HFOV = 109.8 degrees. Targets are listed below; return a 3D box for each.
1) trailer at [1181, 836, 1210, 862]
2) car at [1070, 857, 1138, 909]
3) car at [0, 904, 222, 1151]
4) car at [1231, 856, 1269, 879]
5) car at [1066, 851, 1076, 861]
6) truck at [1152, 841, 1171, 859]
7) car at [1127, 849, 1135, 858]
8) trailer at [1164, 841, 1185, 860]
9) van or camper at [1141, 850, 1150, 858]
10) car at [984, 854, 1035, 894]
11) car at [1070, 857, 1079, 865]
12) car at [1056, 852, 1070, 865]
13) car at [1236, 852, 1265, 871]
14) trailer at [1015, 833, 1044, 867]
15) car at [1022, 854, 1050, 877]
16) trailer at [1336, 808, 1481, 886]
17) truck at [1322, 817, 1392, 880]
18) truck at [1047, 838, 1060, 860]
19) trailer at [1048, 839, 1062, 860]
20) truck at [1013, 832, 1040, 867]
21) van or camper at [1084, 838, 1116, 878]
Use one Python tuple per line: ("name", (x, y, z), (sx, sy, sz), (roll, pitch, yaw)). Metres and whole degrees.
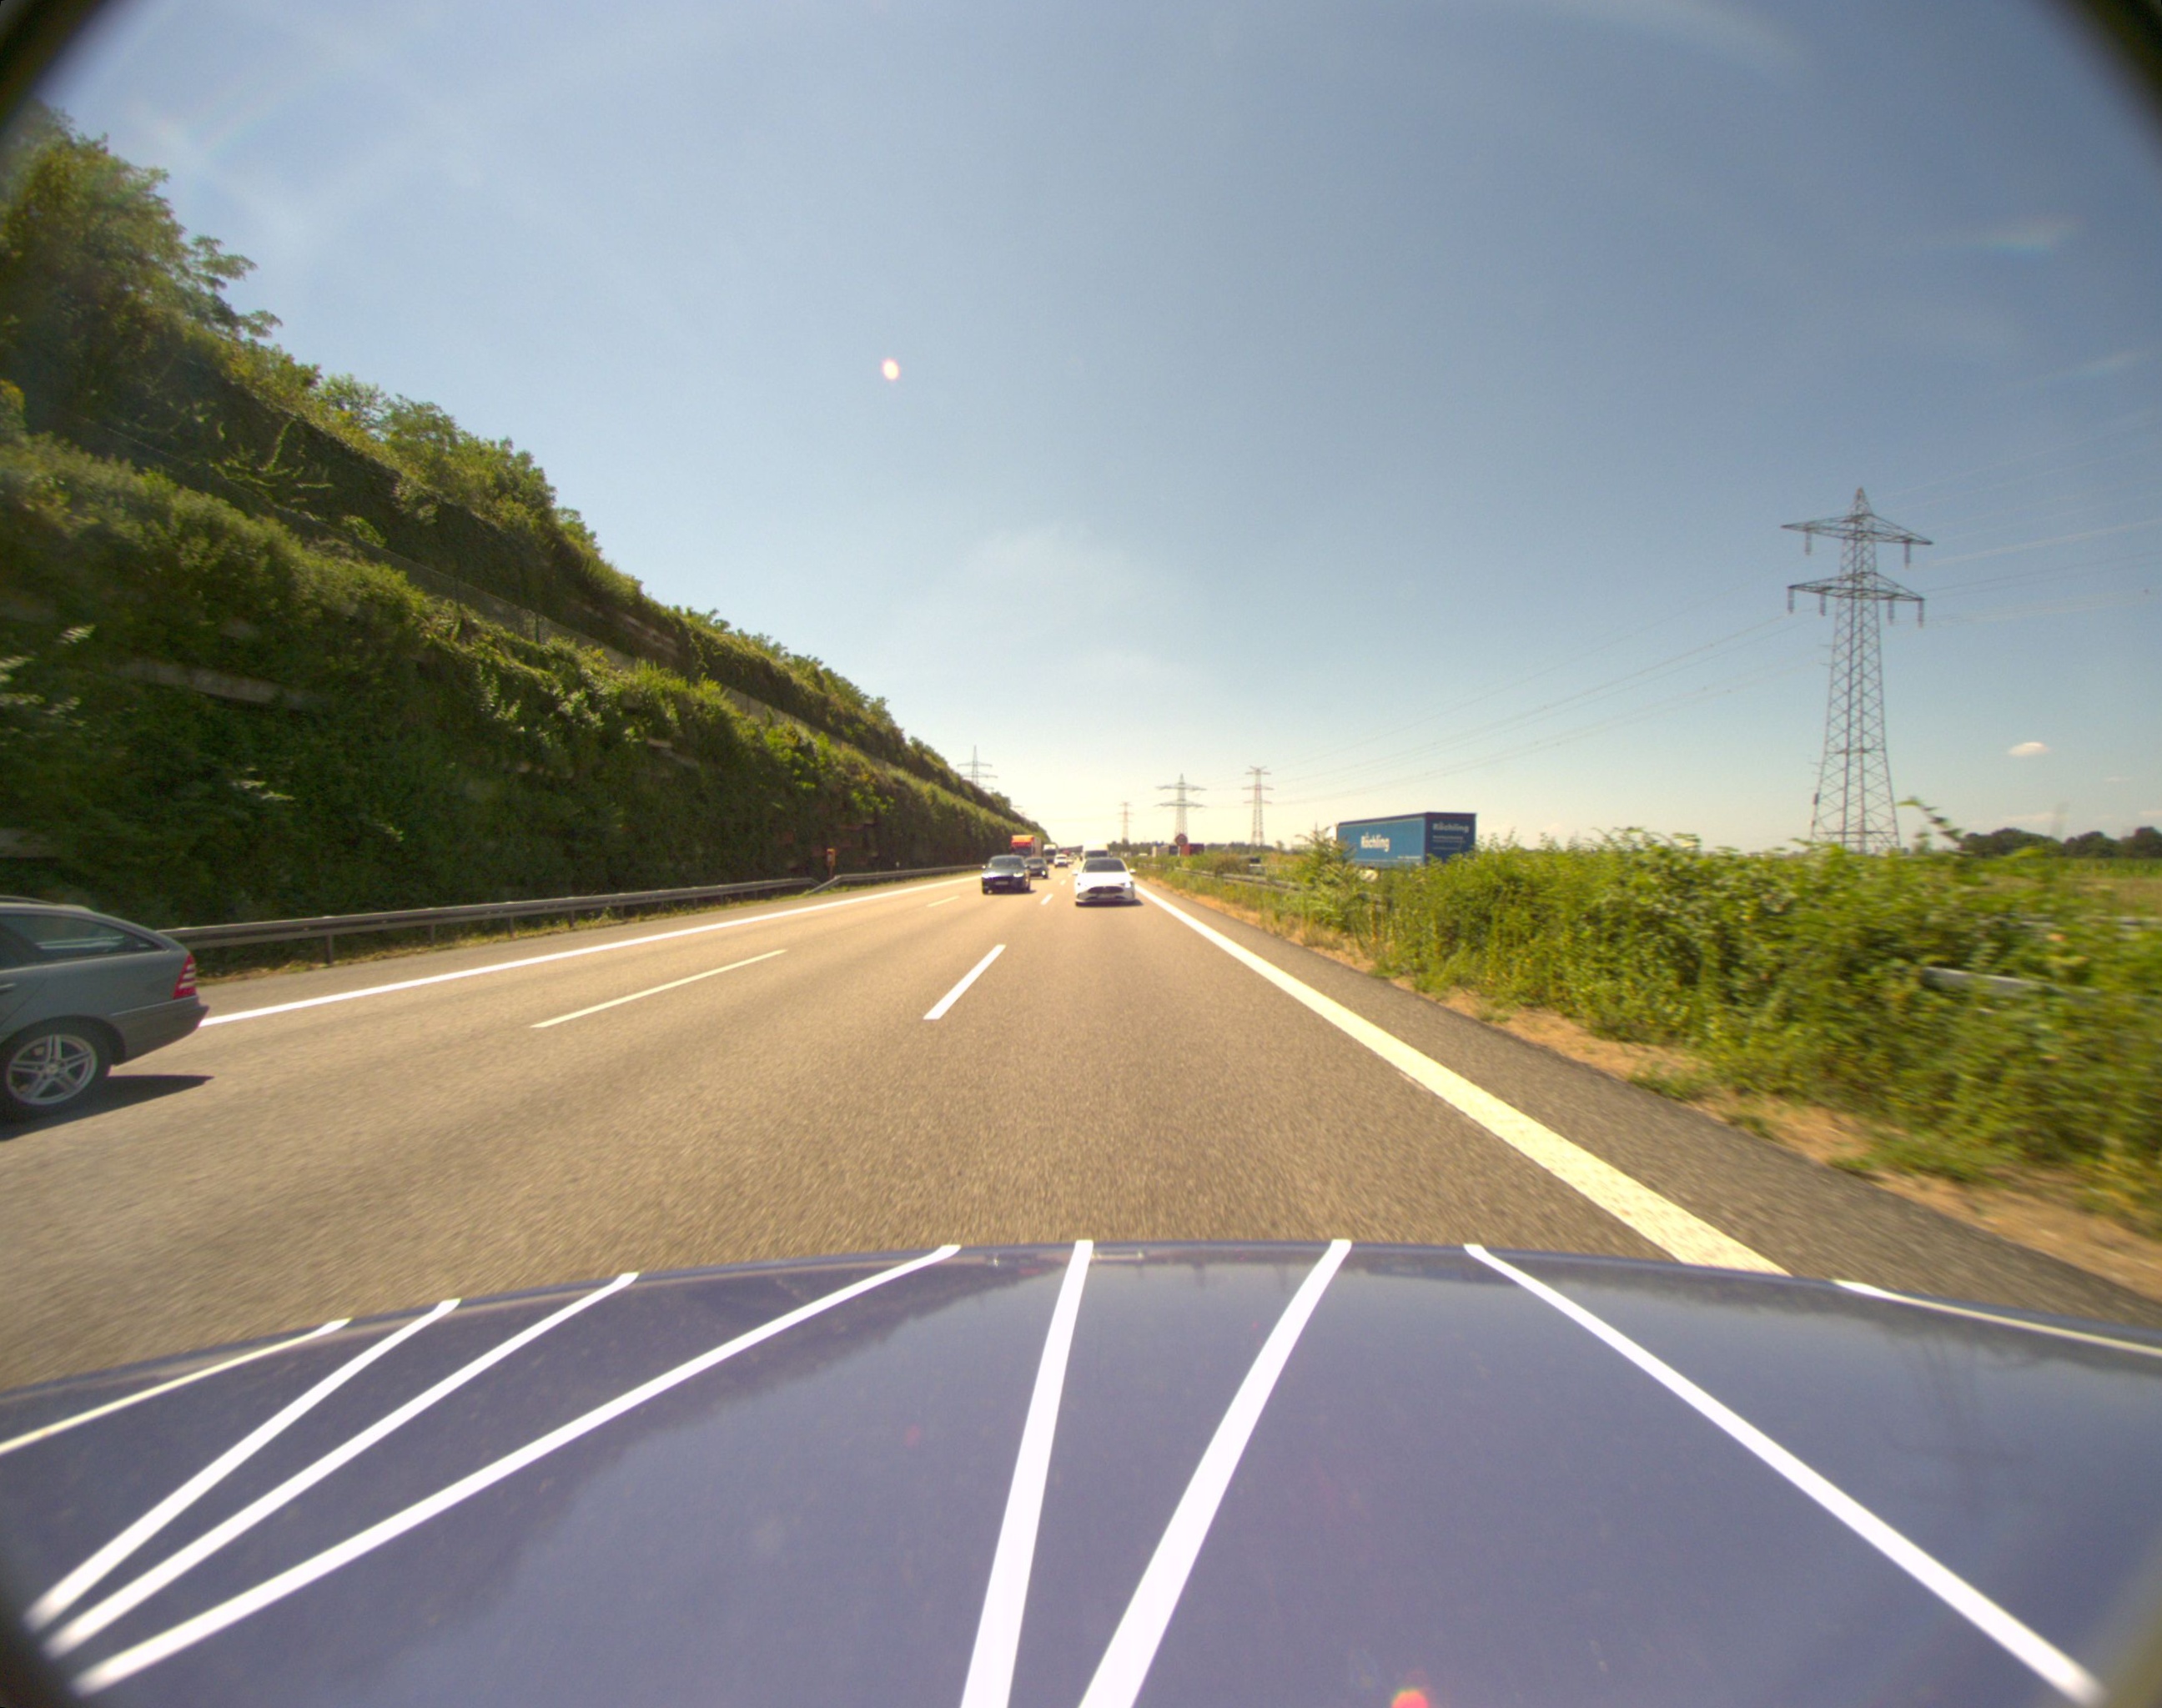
("trailer", (20.044, -0.866, 133.687), (3.201, 4.281, 12.270), (-2, 0, 1))
("car", (0.663, 0.857, 24.478), (1.999, 1.473, 4.108), (-1, 0, 0))
("car", (-7.401, 1.112, 3.553), (1.689, 1.420, 4.453), (-1, 0, 0))
("car", (10.863, 0.838, 49.091), (1.635, 1.391, 4.331), (0, 0, 1))
("car", (-2.006, 0.394, 148.010), (1.782, 1.716, 3.750), (-2, 0, 1))
("truck", (15.921, -0.744, 150.336), (2.944, 3.393, 9.367), (0, 0, 2))
("car", (15.929, -0.174, 243.973), (2.110, 2.615, 7.467), (2, 0, 1))
("trailer", (20.313, -0.684, 166.393), (2.857, 3.954, 14.142), (0, 0, 0))
("van or camper", (20.389, -0.034, 241.417), (2.449, 2.503, 6.483), (0, 0, 0))
("car", (-3.100, 0.837, 33.753), (1.798, 1.643, 4.137), (-1, 0, 0))
("car", (-1.232, 1.320, 146.447), (1.780, 1.520, 4.000), (0, 0, 1))
("car", (-2.459, 0.634, 104.833), (1.784, 1.783, 4.000), (-1, 0, -1))
("car", (15.446, 0.658, 69.344), (1.757, 1.623, 4.608), (0, 0, 1))
("trailer", (-6.349, -0.488, 96.474), (2.652, 3.981, 13.605), (-1, 0, 0))
("car", (-3.144, 0.795, 54.111), (1.753, 1.516, 3.995), (-1, 0, 0))
("trailer", (18.641, -0.362, 44.833), (2.700, 3.914, 13.909), (0, 0, 1))
("truck", (18.700, -0.359, 51.856), (2.703, 4.045, 5.801), (0, 0, 0))
("truck", (-5.493, -0.974, 153.470), (2.514, 4.195, 6.255), (0, 0, 0))
("trailer", (-5.541, -0.946, 161.952), (2.521, 4.187, 17.025), (-1, 0, -1))
("truck", (-6.359, -0.521, 89.096), (2.624, 3.969, 6.526), (-1, 0, 0))
("van or camper", (1.331, 0.274, 55.764), (2.102, 2.752, 6.756), (-1, 0, 0))
